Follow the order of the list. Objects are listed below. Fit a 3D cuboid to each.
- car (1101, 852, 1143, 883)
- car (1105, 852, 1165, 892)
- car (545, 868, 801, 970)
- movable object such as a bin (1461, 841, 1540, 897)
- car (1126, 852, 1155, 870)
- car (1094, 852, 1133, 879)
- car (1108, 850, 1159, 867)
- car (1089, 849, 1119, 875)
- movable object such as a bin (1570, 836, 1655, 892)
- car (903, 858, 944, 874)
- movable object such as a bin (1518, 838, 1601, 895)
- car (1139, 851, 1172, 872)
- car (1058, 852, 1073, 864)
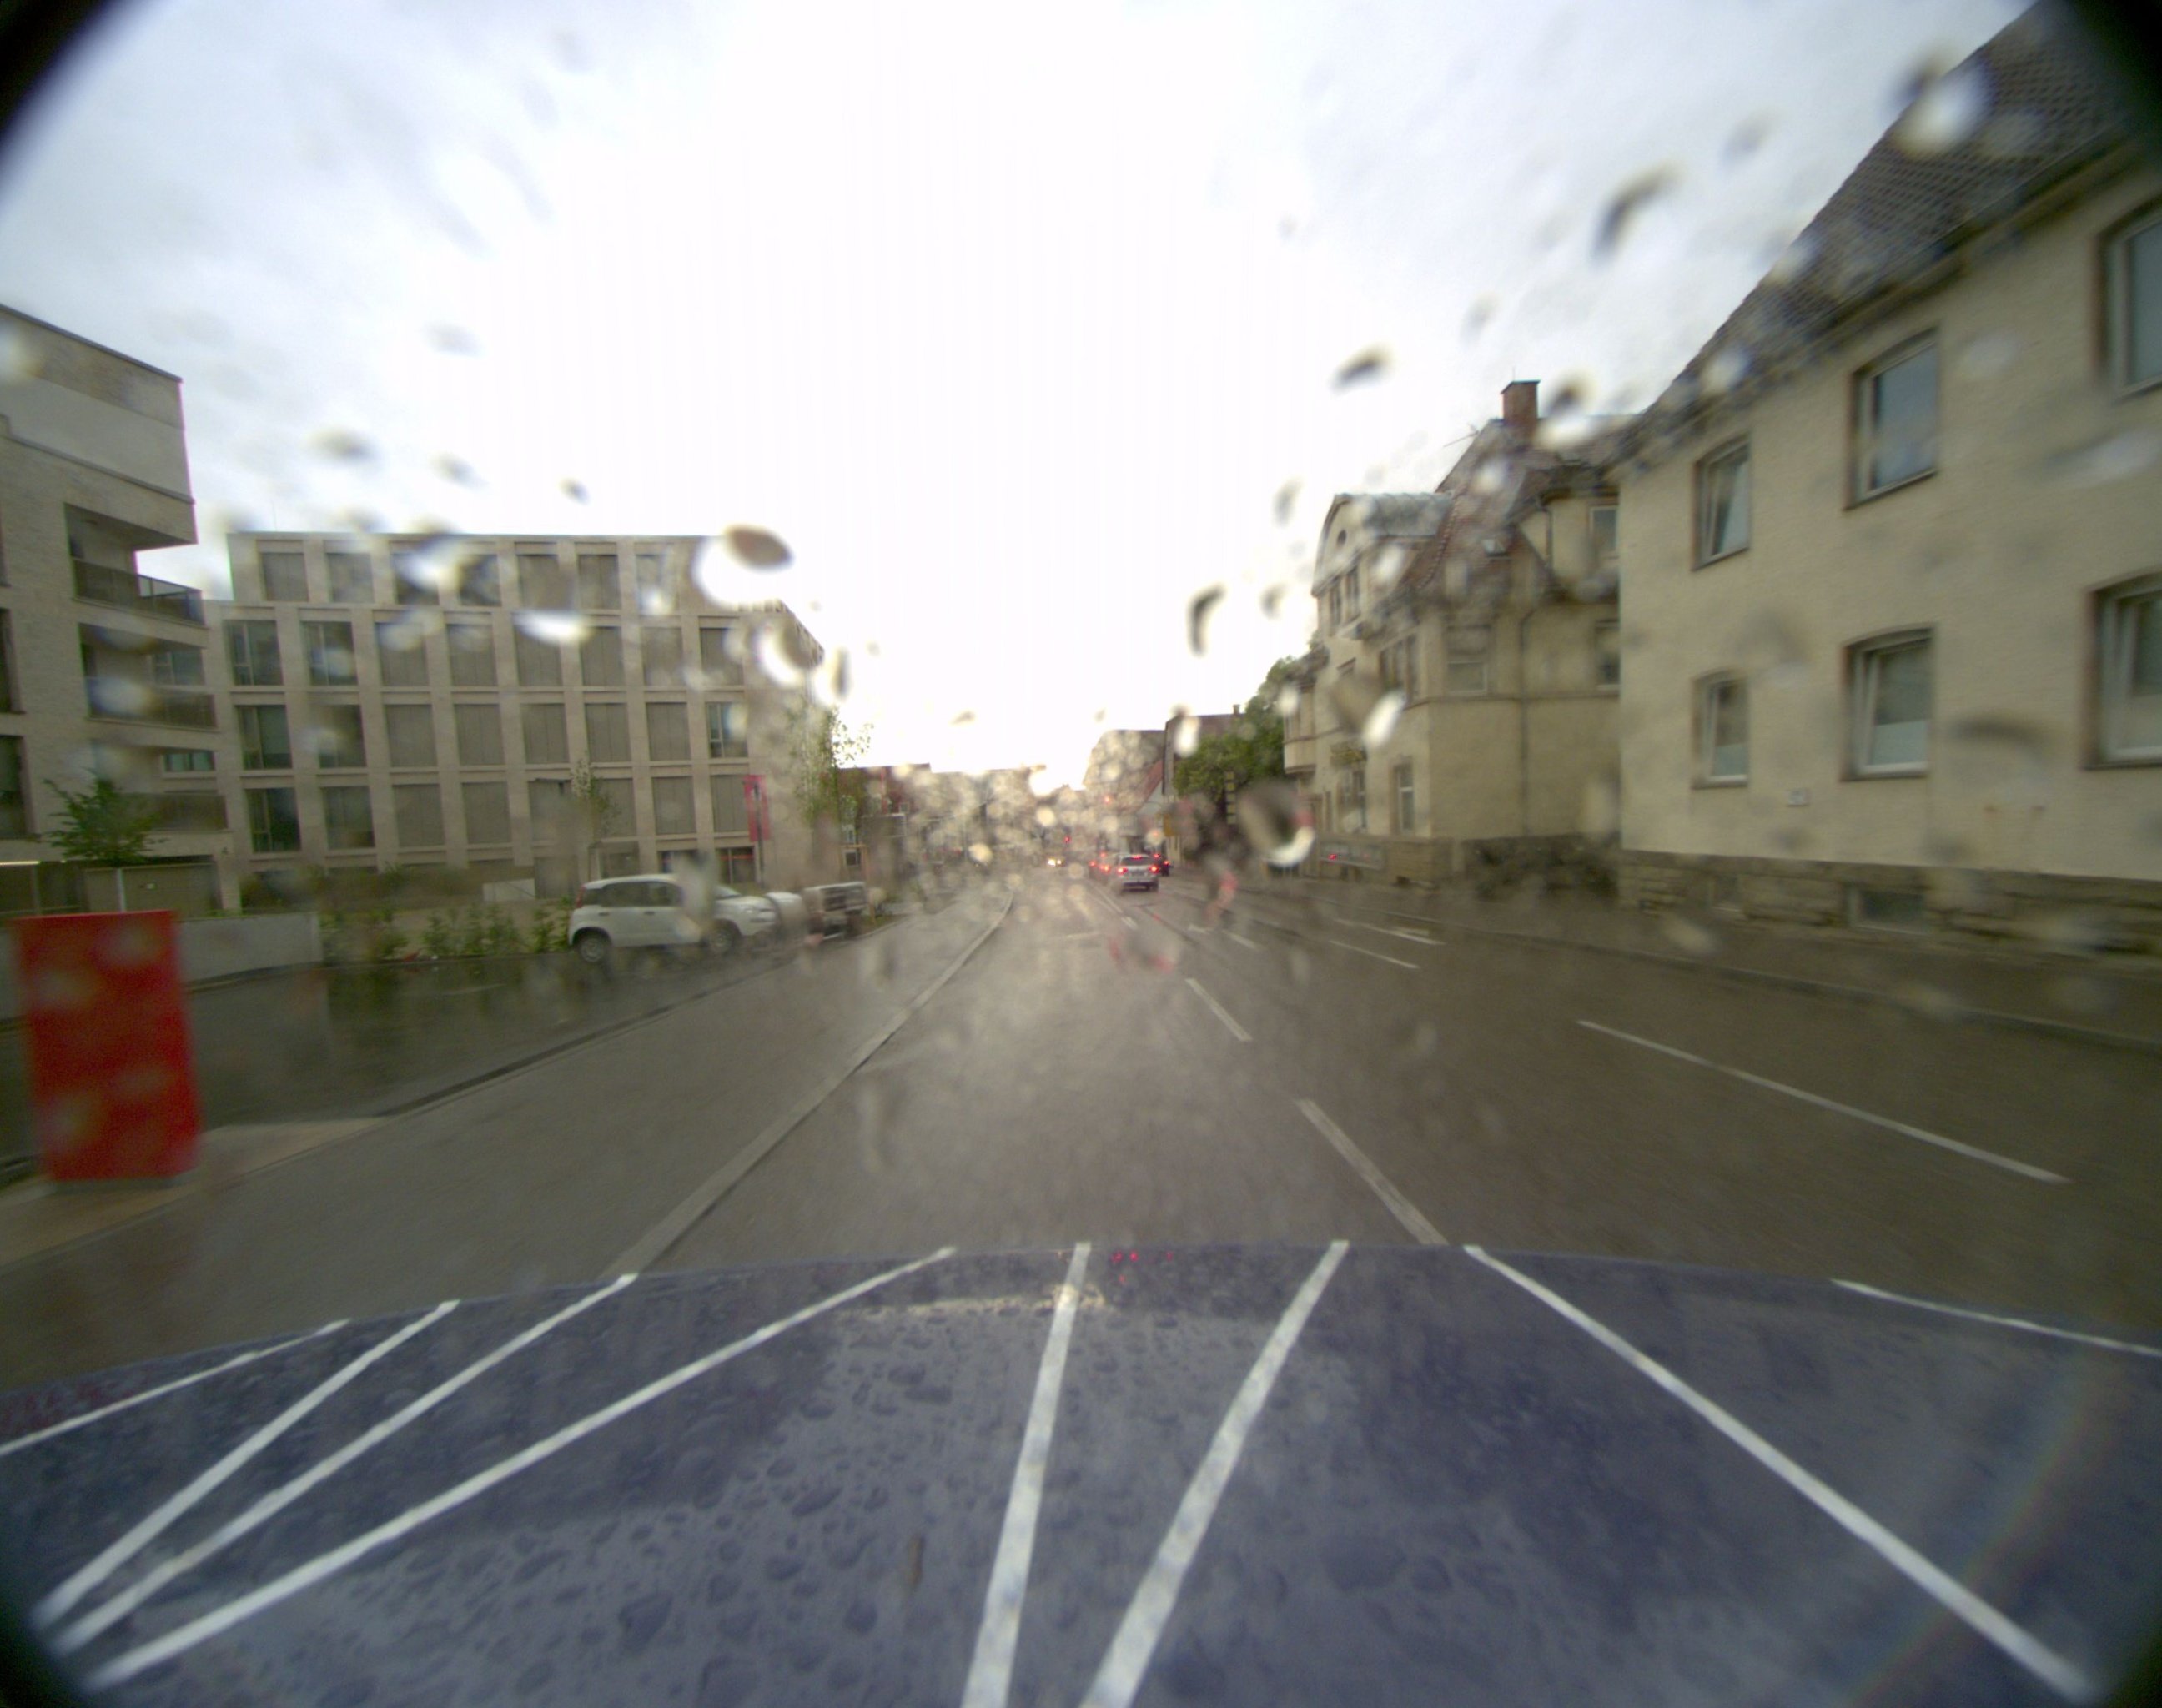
[{"bbox_3d":[2.053,0.663,39.576,1.804,1.431,4.688,-3,0,-1],"label":"car"},{"bbox_3d":[2.122,0.692,31.293,1.804,1.431,4.687,-3,0,-4],"label":"car"},{"bbox_3d":[-7.380,1.135,14.029,3.676,1.494,1.776,-4,0,-1],"label":"car"},{"bbox_3d":[10.187,0.361,18.501,1.283,1.259,1.050,-3,1,-2],"label":"movable object such as a bin"},{"bbox_3d":[4.545,0.522,58.757,1.853,1.286,4.032,-3,0,0],"label":"car"},{"bbox_3d":[1.888,0.654,45.587,1.946,1.432,5.015,-3,0,-1],"label":"car"},{"bbox_3d":[5.370,0.463,77.550,5.027,1.536,2.001,-3,0,6],"label":"car"},{"bbox_3d":[1.577,0.509,52.851,1.853,1.654,4.219,-3,0,0],"label":"car"},{"bbox_3d":[12.840,0.228,18.392,1.283,1.259,1.050,-3,1,-2],"label":"movable object such as a bin"},{"bbox_3d":[-17.351,1.366,83.913,3.995,1.533,2.001,-3,0,5],"label":"car"},{"bbox_3d":[11.526,0.294,18.344,1.283,1.259,1.050,-3,1,-2],"label":"movable object such as a bin"},{"bbox_3d":[5.123,0.508,52.624,1.742,1.346,4.059,-3,0,-1],"label":"car"},{"bbox_3d":[-2.102,0.521,103.496,1.727,1.538,3.998,-3,0,-5],"label":"car"}]
